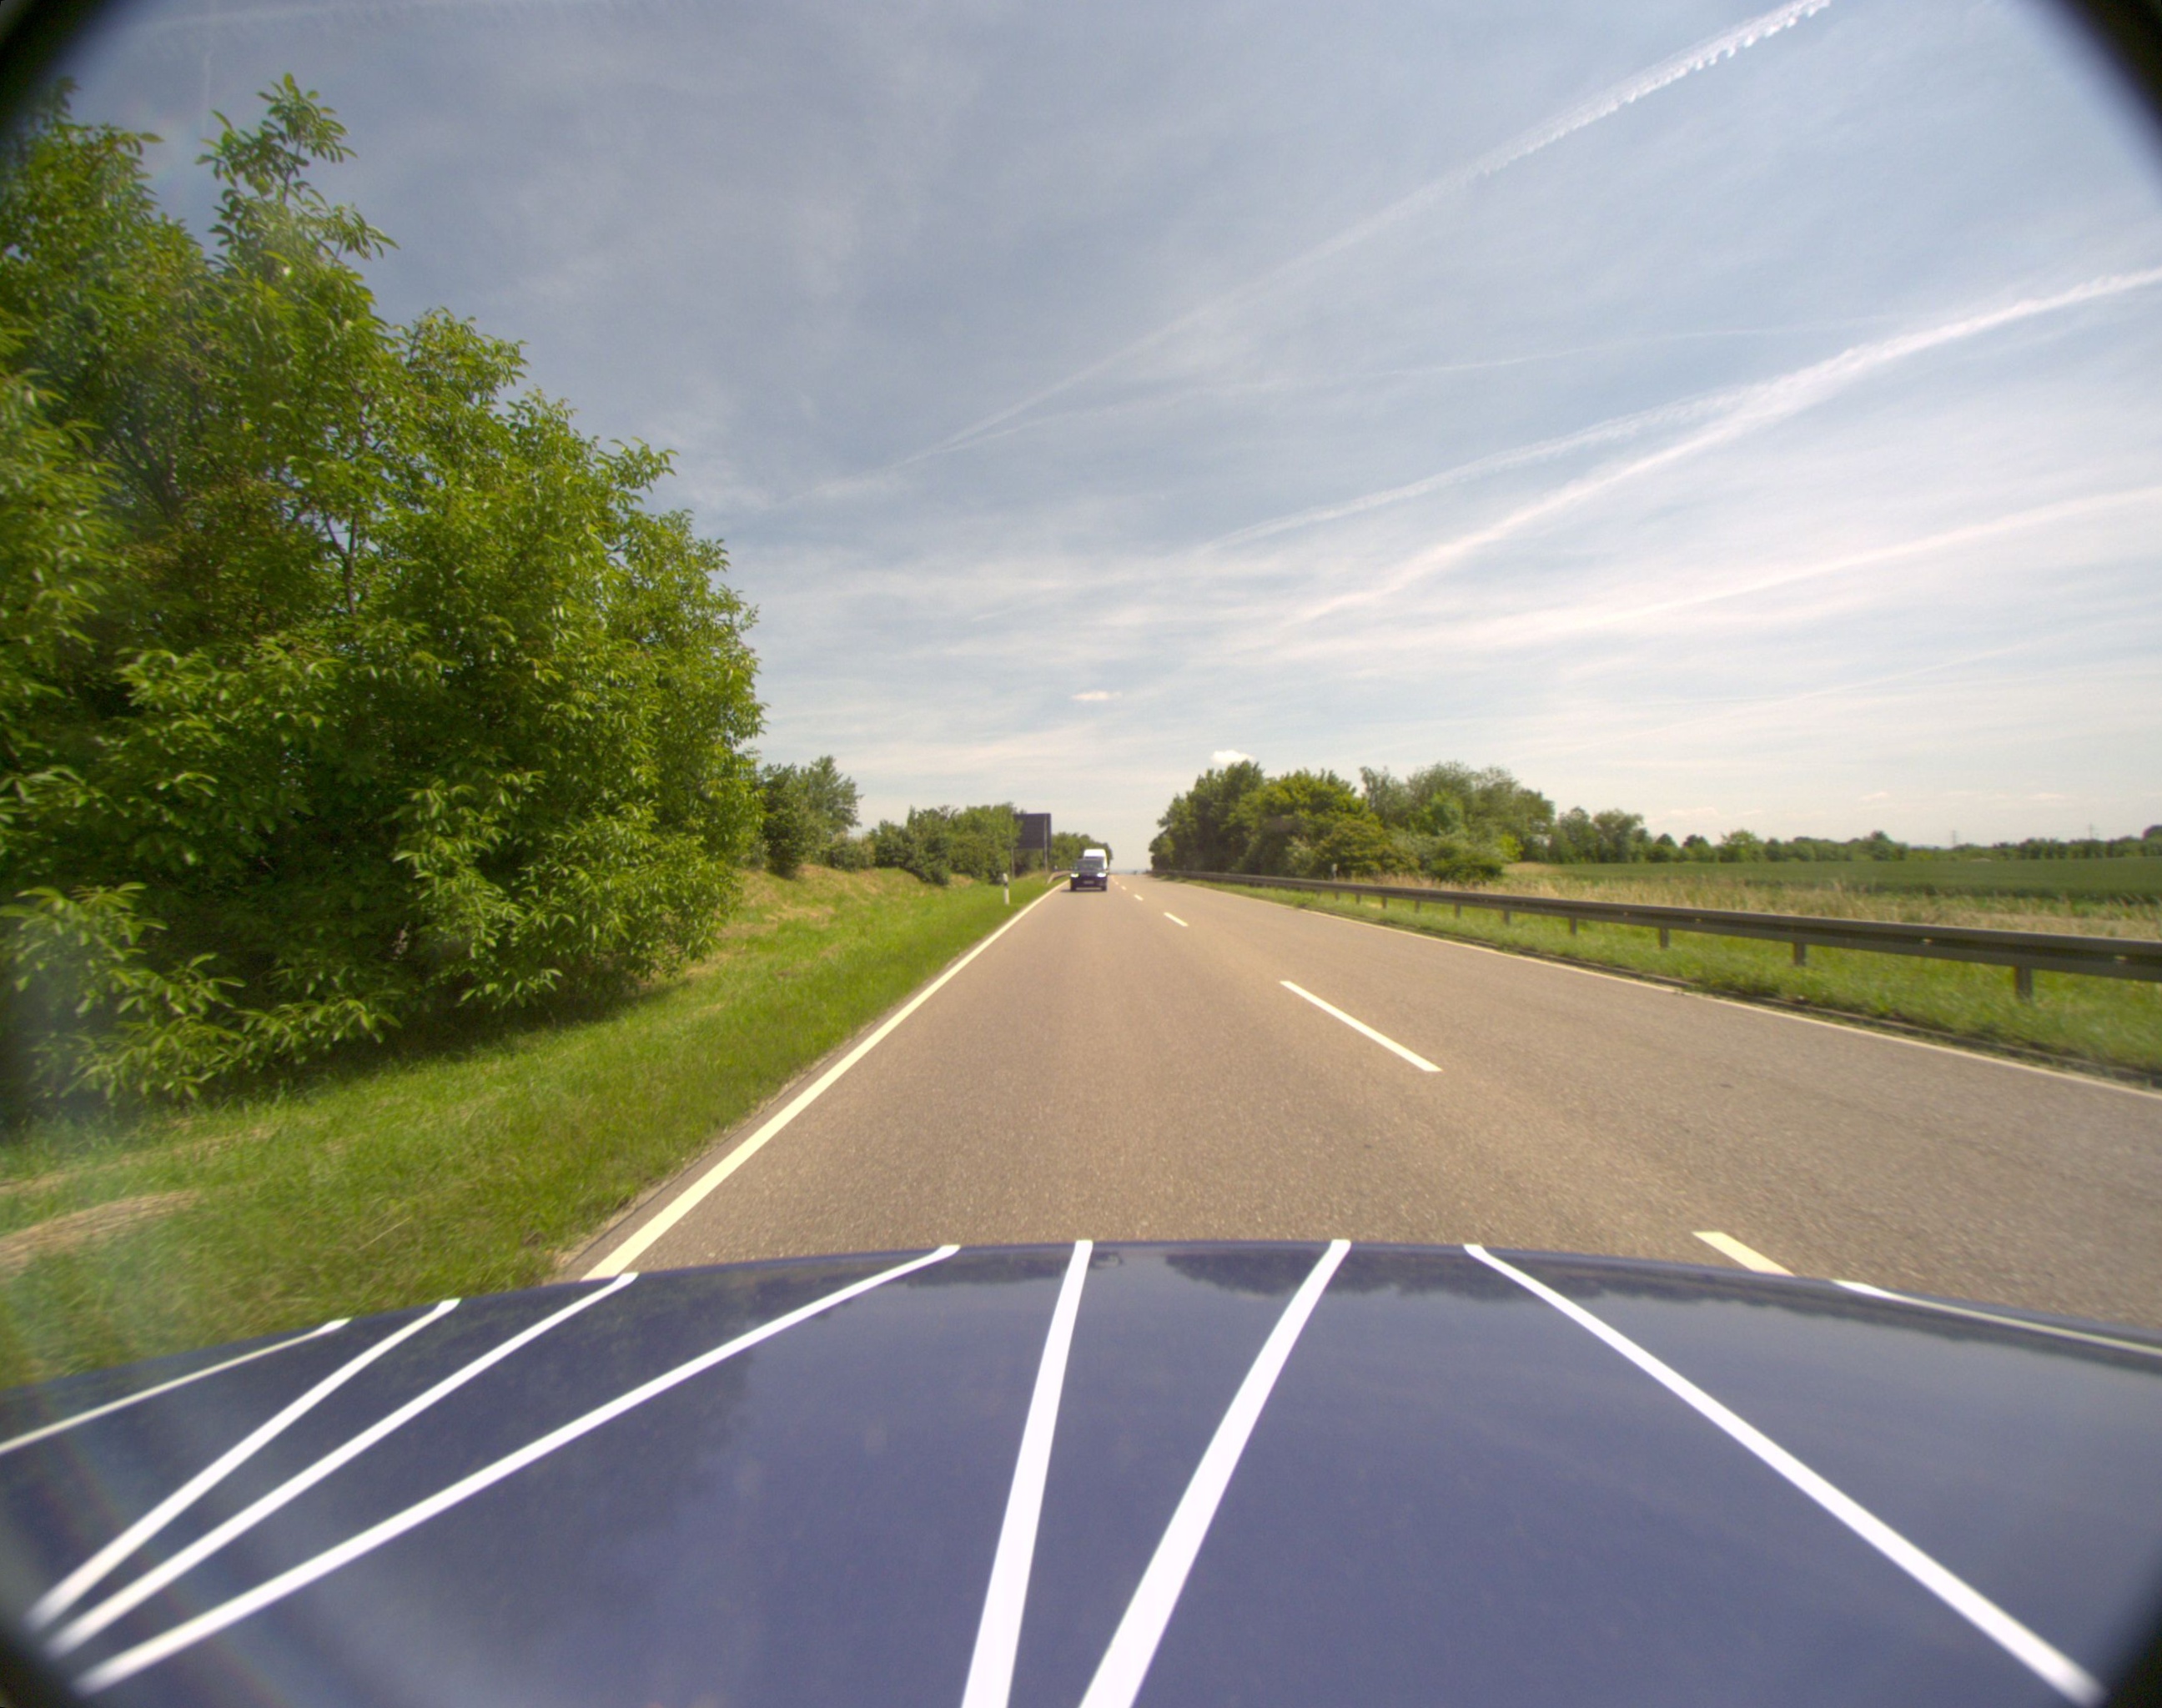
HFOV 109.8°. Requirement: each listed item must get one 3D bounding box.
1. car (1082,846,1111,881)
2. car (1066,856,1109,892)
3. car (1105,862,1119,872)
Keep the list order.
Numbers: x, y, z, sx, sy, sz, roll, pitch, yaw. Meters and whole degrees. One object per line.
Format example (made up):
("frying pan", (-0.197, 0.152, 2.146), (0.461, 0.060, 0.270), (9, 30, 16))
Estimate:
("car", (1.339, 0.724, 62.135), (2.225, 2.617, 5.753), (-1, 0, 2))
("car", (0.429, 0.995, 40.402), (2.038, 1.691, 5.513), (-1, 0, 3))
("car", (5.153, 2.146, 124.466), (2.038, 1.641, 4.747), (0, -1, 5))
